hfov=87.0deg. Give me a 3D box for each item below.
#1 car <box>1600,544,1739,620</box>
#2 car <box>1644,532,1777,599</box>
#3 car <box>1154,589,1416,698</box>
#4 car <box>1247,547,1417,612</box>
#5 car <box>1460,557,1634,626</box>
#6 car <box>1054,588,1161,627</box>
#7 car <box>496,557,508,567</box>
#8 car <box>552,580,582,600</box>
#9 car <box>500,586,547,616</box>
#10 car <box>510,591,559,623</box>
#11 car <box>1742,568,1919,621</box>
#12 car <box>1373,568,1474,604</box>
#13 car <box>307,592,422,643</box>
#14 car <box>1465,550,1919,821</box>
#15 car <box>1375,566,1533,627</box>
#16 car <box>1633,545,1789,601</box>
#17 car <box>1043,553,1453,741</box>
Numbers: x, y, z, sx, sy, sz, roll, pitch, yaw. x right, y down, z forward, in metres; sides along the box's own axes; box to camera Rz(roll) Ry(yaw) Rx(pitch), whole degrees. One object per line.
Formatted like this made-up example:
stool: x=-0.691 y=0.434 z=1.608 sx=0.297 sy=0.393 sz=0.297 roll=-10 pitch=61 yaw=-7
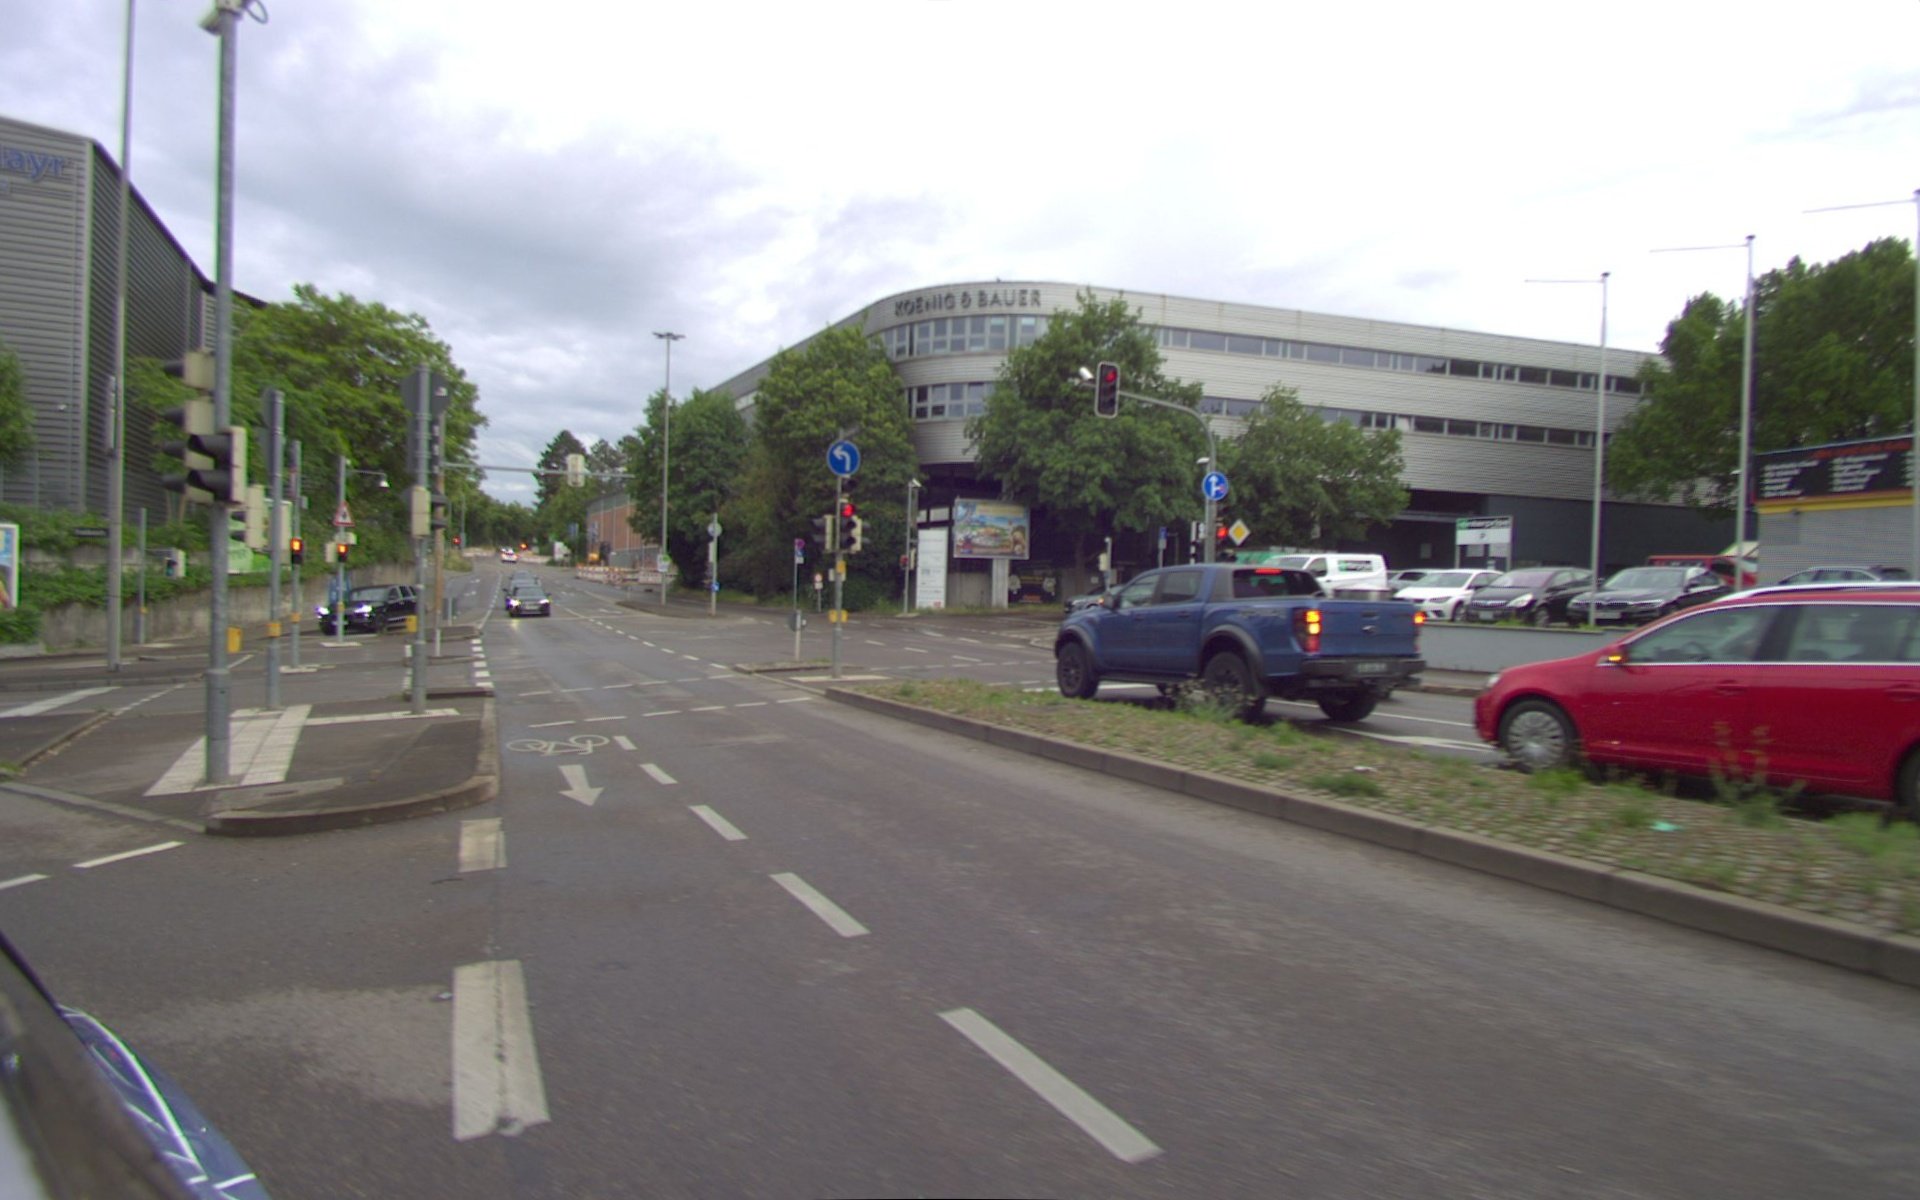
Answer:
car: x=14.606 y=-0.386 z=20.825 sx=2.640 sy=1.435 sz=1.231 roll=-2 pitch=2 yaw=-27
car: x=29.983 y=-1.341 z=40.584 sx=1.625 sy=2.516 sz=4.000 roll=1 pitch=1 yaw=-21
car: x=5.009 y=0.594 z=16.194 sx=1.520 sy=1.470 sz=4.084 roll=1 pitch=1 yaw=-28
car: x=11.419 y=-0.580 z=30.916 sx=5.283 sy=1.815 sz=2.226 roll=1 pitch=1 yaw=-35
car: x=13.341 y=-0.217 z=22.989 sx=3.561 sy=1.379 sz=1.747 roll=-2 pitch=2 yaw=-27
car: x=6.739 y=0.314 z=46.335 sx=4.308 sy=1.612 sz=2.040 roll=-2 pitch=1 yaw=-15
car: x=-66.305 y=-5.456 z=146.623 sx=1.508 sy=1.324 sz=3.242 roll=1 pitch=1 yaw=-24
car: x=-28.538 y=-0.748 z=73.558 sx=1.724 sy=1.380 sz=3.768 roll=-3 pitch=2 yaw=-17
car: x=-23.034 y=0.030 z=53.516 sx=1.724 sy=1.380 sz=3.768 roll=-3 pitch=2 yaw=-15
car: x=-19.605 y=0.281 z=46.776 sx=1.571 sy=1.269 sz=3.768 roll=-3 pitch=2 yaw=-15
car: x=25.421 y=-0.119 z=29.359 sx=1.350 sy=1.417 sz=4.354 roll=1 pitch=-1 yaw=-17
car: x=18.012 y=-0.558 z=39.448 sx=1.548 sy=1.331 sz=3.307 roll=1 pitch=1 yaw=-29
car: x=-21.744 y=0.582 z=37.176 sx=1.924 sy=1.555 sz=4.216 roll=-2 pitch=2 yaw=-4
car: x=5.977 y=0.483 z=6.735 sx=1.781 sy=1.542 sz=4.456 roll=1 pitch=1 yaw=-28
car: x=12.707 y=-0.119 z=26.018 sx=3.561 sy=1.379 sz=1.879 roll=-2 pitch=2 yaw=-27
car: x=27.300 y=-0.966 z=36.968 sx=1.710 sy=1.874 sz=4.325 roll=1 pitch=1 yaw=-21
car: x=3.218 y=0.488 z=12.634 sx=1.906 sy=1.832 sz=5.187 roll=1 pitch=-1 yaw=-27
